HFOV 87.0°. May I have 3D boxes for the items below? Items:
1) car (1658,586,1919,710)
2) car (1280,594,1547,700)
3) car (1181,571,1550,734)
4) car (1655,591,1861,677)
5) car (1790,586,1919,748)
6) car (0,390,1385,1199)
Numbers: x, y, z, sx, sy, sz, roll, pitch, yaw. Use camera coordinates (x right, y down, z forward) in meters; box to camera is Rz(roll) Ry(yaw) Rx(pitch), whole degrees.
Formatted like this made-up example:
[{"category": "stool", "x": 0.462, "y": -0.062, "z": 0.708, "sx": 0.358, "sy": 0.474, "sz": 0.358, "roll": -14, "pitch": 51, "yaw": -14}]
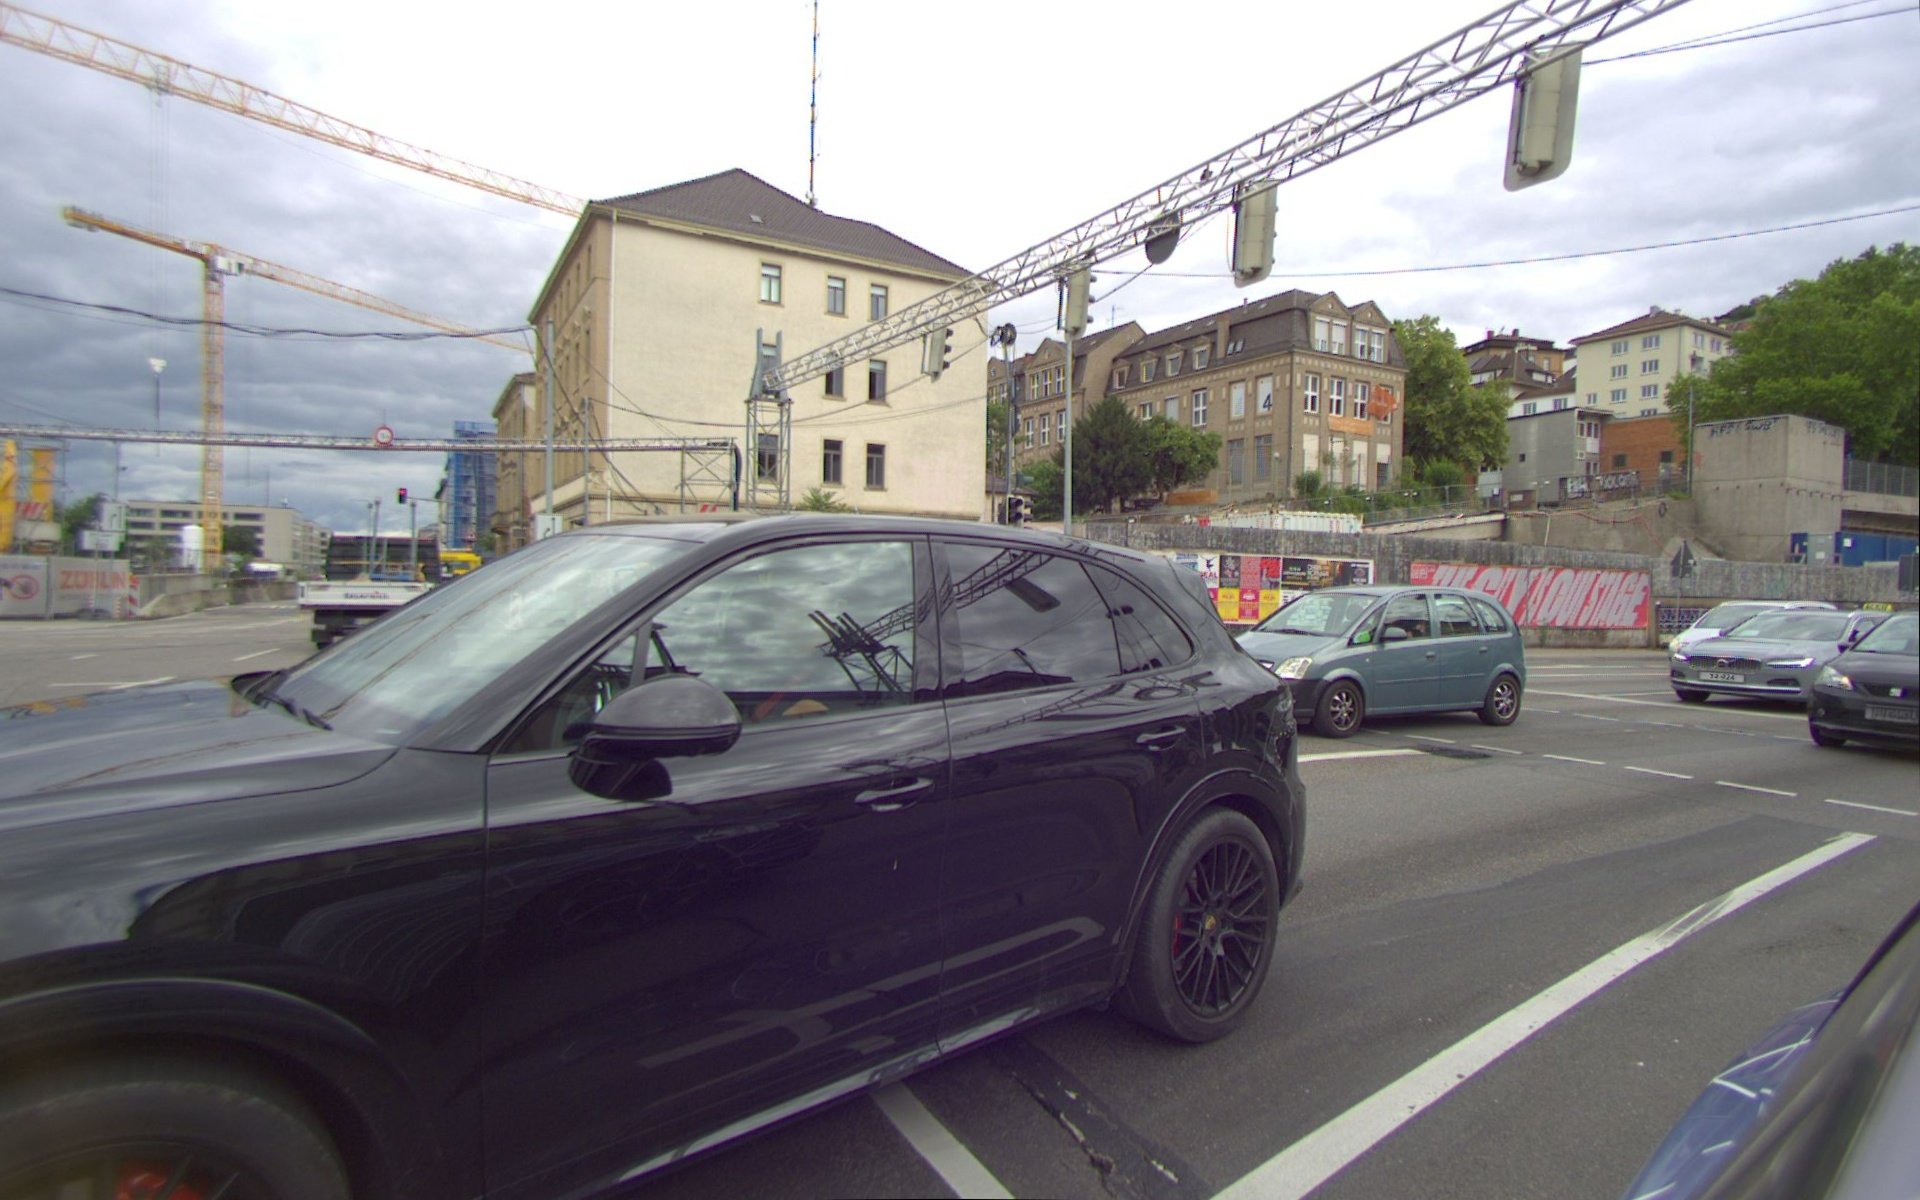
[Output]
[{"category": "car", "x": 12.876, "y": 0.669, "z": 15.161, "sx": 4.586, "sy": 1.598, "sz": 1.915, "roll": 1, "pitch": 1, "yaw": -26}, {"category": "car", "x": 7.022, "y": 0.632, "z": 15.592, "sx": 4.004, "sy": 1.433, "sz": 1.695, "roll": 0, "pitch": 1, "yaw": -29}, {"category": "car", "x": 4.620, "y": 0.517, "z": 11.492, "sx": 3.873, "sy": 1.593, "sz": 1.695, "roll": 1, "pitch": 1, "yaw": -26}, {"category": "car", "x": 16.125, "y": 0.649, "z": 20.439, "sx": 3.987, "sy": 1.594, "sz": 1.695, "roll": 1, "pitch": 0, "yaw": -26}, {"category": "car", "x": 10.807, "y": 0.678, "z": 10.467, "sx": 4.327, "sy": 1.488, "sz": 1.737, "roll": 2, "pitch": 1, "yaw": -26}, {"category": "car", "x": -0.775, "y": 0.526, "z": 2.980, "sx": 4.528, "sy": 1.668, "sz": 1.954, "roll": 0, "pitch": 2, "yaw": -42}]
